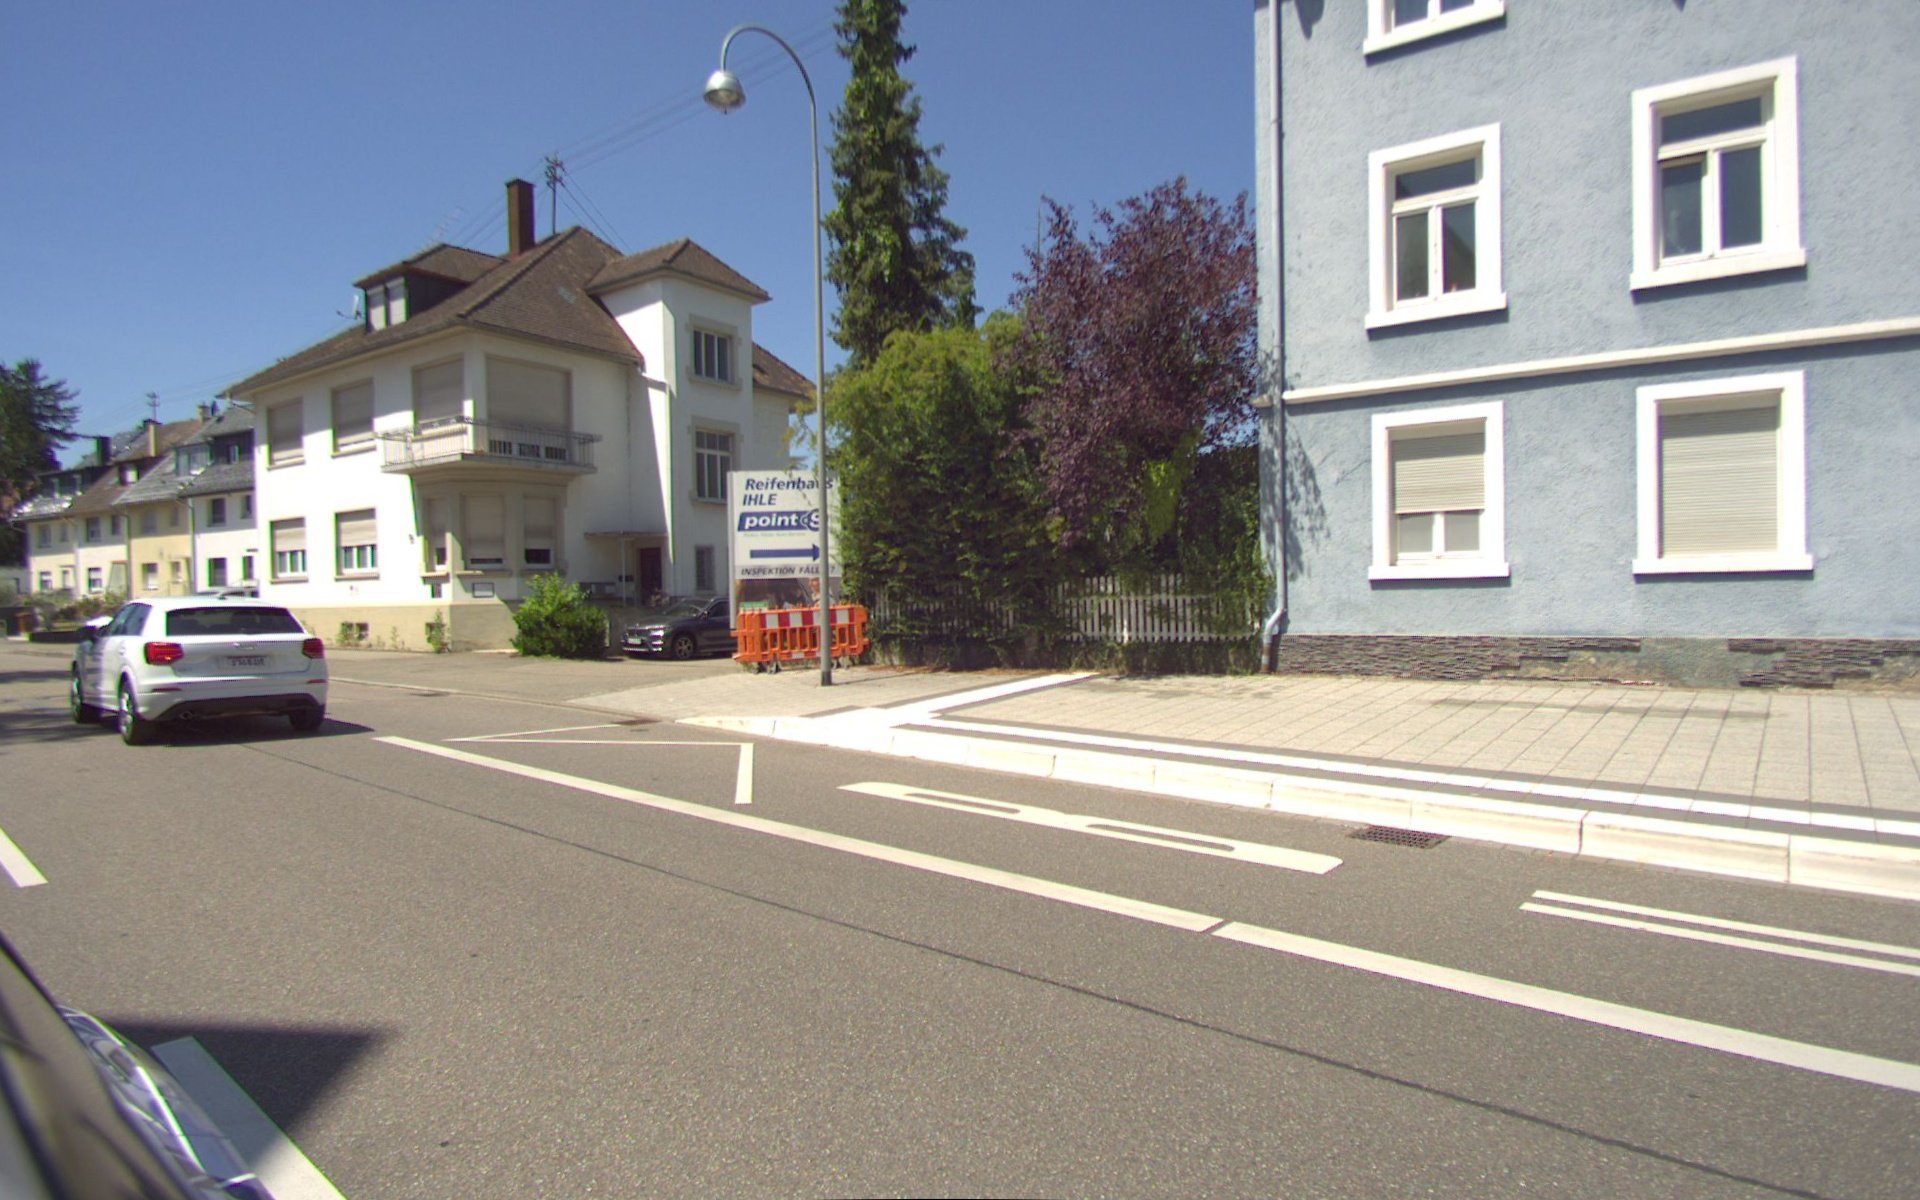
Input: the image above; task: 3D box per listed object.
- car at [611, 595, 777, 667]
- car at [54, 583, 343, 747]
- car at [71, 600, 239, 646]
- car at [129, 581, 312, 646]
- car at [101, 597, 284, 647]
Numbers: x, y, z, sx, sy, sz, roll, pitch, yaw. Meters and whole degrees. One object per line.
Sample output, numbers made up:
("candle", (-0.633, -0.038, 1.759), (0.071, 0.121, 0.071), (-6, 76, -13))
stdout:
("car", (-6.750, 0.764, 25.996), (1.563, 1.551, 3.882), (-6, -2, 39))
("car", (-8.894, 0.596, 11.713), (3.947, 1.541, 1.802), (1, 2, 40))
("car", (-27.720, 0.778, 35.032), (4.201, 1.507, 1.883), (0, -1, -24))
("car", (-23.175, 0.447, 31.910), (1.841, 1.891, 4.325), (-1, -1, 27))
("car", (-25.162, 0.718, 33.326), (1.972, 1.507, 4.432), (-1, -2, 35))
